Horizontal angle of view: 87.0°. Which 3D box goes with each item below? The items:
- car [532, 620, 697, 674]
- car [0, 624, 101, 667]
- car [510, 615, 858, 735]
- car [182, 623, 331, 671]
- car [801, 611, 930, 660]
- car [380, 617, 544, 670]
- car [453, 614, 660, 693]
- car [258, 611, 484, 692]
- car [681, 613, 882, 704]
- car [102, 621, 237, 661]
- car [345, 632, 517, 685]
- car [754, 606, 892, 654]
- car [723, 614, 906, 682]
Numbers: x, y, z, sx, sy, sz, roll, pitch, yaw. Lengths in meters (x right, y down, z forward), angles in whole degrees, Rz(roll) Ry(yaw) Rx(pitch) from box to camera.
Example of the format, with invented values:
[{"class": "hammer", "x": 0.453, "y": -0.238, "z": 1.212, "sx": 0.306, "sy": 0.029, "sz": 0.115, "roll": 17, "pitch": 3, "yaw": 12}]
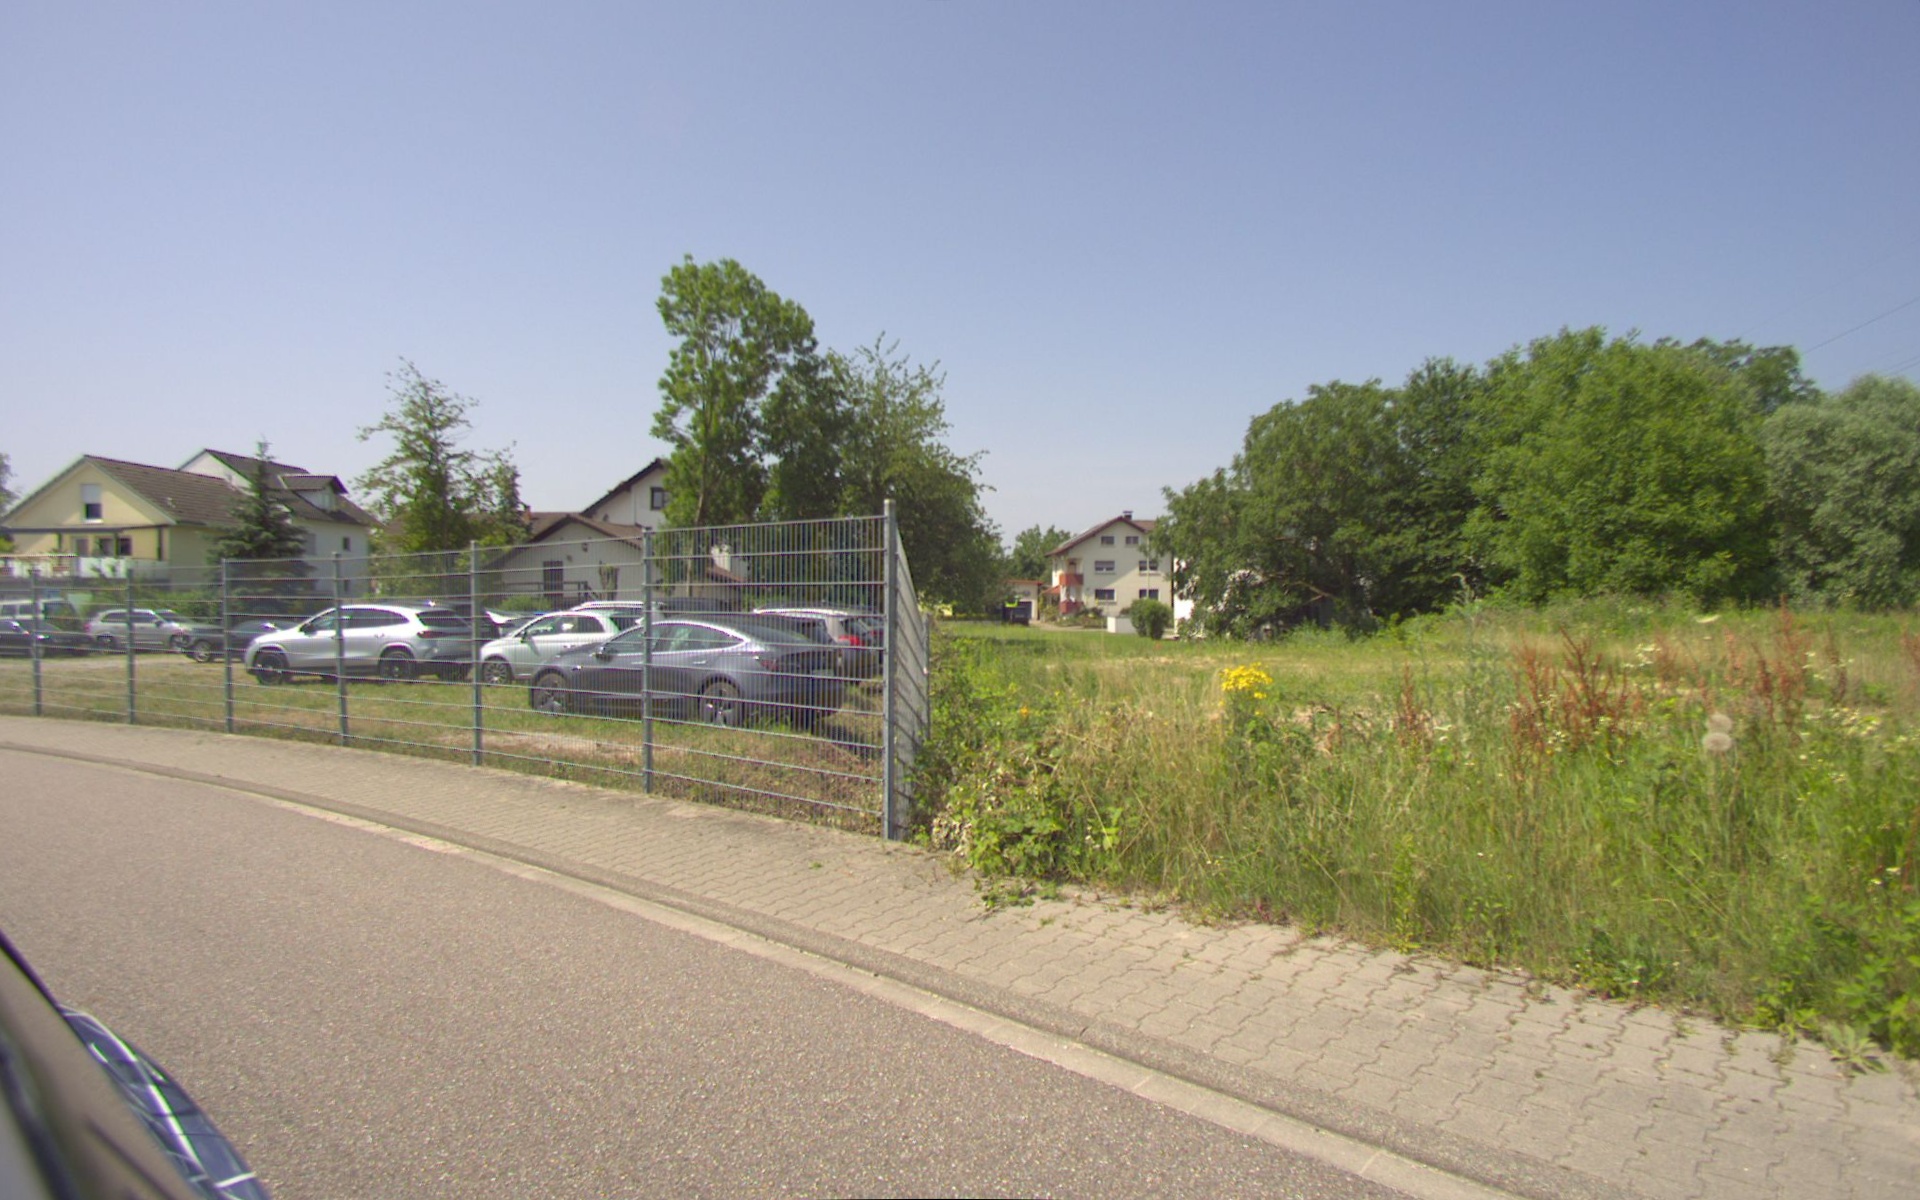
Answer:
[{"class": "car", "x": -8.377, "y": 1.122, "z": 24.724, "sx": 3.365, "sy": 1.208, "sz": 1.818, "roll": -1, "pitch": 0, "yaw": 5}, {"class": "car", "x": -34.100, "y": 1.666, "z": 37.226, "sx": 3.636, "sy": 1.475, "sz": 1.818, "roll": -1, "pitch": 0, "yaw": 5}, {"class": "car", "x": -3.603, "y": 0.890, "z": 13.089, "sx": 4.378, "sy": 1.344, "sz": 1.569, "roll": -1, "pitch": -1, "yaw": 25}, {"class": "car", "x": -21.394, "y": 1.414, "z": 30.861, "sx": 3.365, "sy": 1.326, "sz": 1.818, "roll": -1, "pitch": 0, "yaw": 5}, {"class": "car", "x": -3.019, "y": 1.137, "z": 32.908, "sx": 3.948, "sy": 1.510, "sz": 1.998, "roll": -1, "pitch": -1, "yaw": 4}, {"class": "car", "x": -14.848, "y": 1.285, "z": 30.306, "sx": 3.948, "sy": 1.510, "sz": 1.998, "roll": -1, "pitch": -1, "yaw": 4}, {"class": "car", "x": -7.798, "y": 1.015, "z": 19.733, "sx": 3.417, "sy": 1.430, "sz": 1.580, "roll": -1, "pitch": -1, "yaw": 4}, {"class": "car", "x": -11.508, "y": 0.991, "z": 19.905, "sx": 3.599, "sy": 1.501, "sz": 1.580, "roll": -1, "pitch": -1, "yaw": 4}, {"class": "car", "x": -3.258, "y": 1.059, "z": 18.869, "sx": 3.417, "sy": 1.596, "sz": 1.580, "roll": -1, "pitch": -1, "yaw": 4}, {"class": "car", "x": -31.156, "y": 1.607, "z": 39.966, "sx": 3.946, "sy": 1.510, "sz": 1.860, "roll": -1, "pitch": -1, "yaw": 2}, {"class": "car", "x": -13.456, "y": 1.473, "z": 25.845, "sx": 3.599, "sy": 1.256, "sz": 1.580, "roll": -1, "pitch": -1, "yaw": 4}, {"class": "car", "x": -3.939, "y": 0.853, "z": 29.424, "sx": 3.698, "sy": 1.326, "sz": 1.818, "roll": -1, "pitch": 0, "yaw": 5}, {"class": "car", "x": -3.345, "y": 1.098, "z": 23.820, "sx": 3.948, "sy": 1.510, "sz": 1.998, "roll": -1, "pitch": -1, "yaw": 4}]
